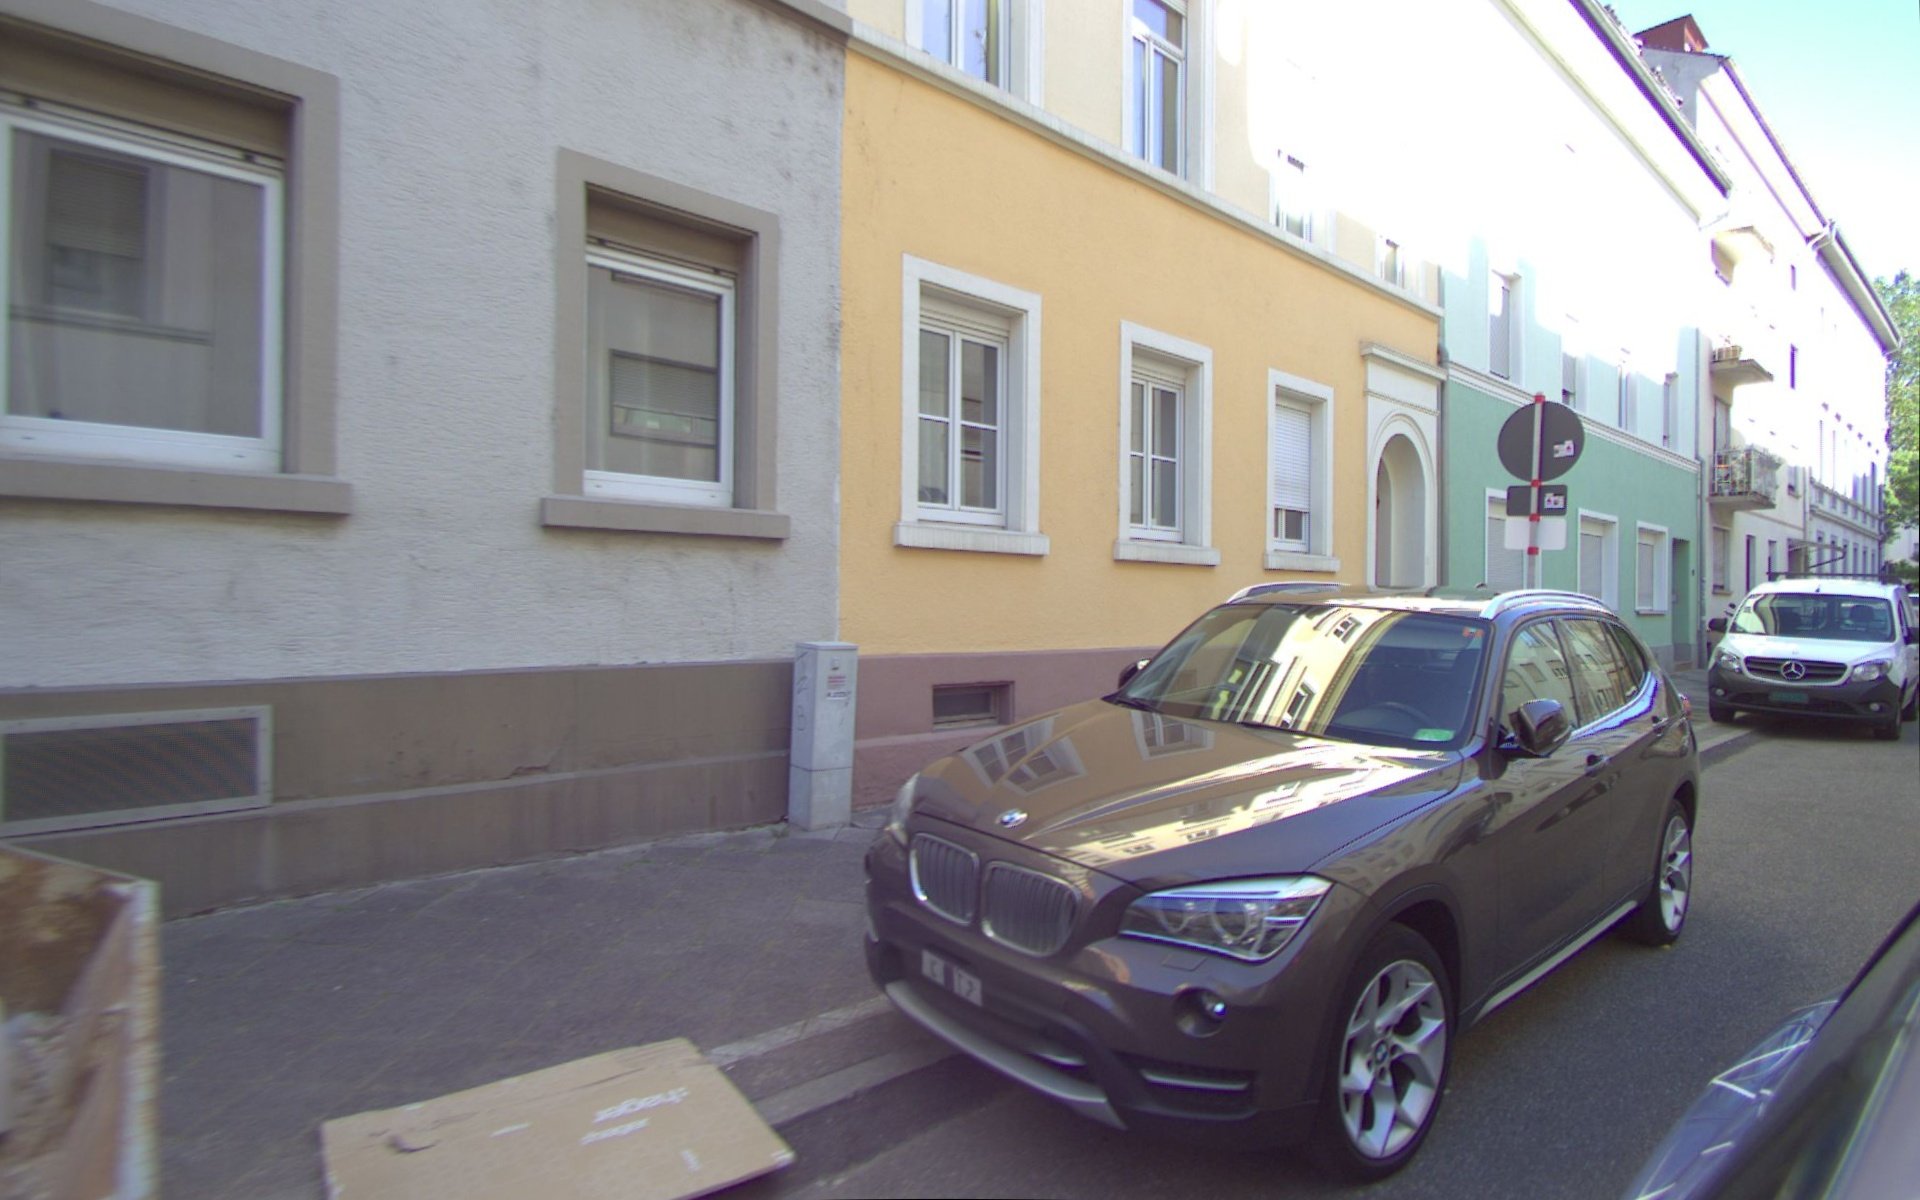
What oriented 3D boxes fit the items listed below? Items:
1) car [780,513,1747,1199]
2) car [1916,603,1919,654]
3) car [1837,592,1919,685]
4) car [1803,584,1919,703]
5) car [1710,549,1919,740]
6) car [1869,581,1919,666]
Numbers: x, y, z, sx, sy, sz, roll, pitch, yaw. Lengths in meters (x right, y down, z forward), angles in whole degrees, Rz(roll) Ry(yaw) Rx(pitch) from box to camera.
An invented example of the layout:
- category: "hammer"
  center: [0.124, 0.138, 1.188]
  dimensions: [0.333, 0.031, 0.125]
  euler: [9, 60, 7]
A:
- category: "car"
  center: [1.596, 0.647, 4.048]
  dimensions: [4.302, 1.597, 1.741]
  euler: [1, -1, -42]
- category: "car"
  center: [29.834, 0.816, 30.071]
  dimensions: [3.803, 1.467, 1.748]
  euler: [1, -2, -42]
- category: "car"
  center: [17.809, 0.675, 18.870]
  dimensions: [3.963, 1.589, 1.744]
  euler: [1, 0, -42]
- category: "car"
  center: [14.344, 0.618, 15.683]
  dimensions: [3.621, 1.653, 1.581]
  euler: [0, -2, -44]
- category: "car"
  center: [10.939, 0.444, 12.634]
  dimensions: [4.263, 1.986, 1.784]
  euler: [-1, 0, -43]
- category: "car"
  center: [22.256, 0.518, 22.921]
  dimensions: [4.853, 1.806, 2.008]
  euler: [1, -1, -42]
